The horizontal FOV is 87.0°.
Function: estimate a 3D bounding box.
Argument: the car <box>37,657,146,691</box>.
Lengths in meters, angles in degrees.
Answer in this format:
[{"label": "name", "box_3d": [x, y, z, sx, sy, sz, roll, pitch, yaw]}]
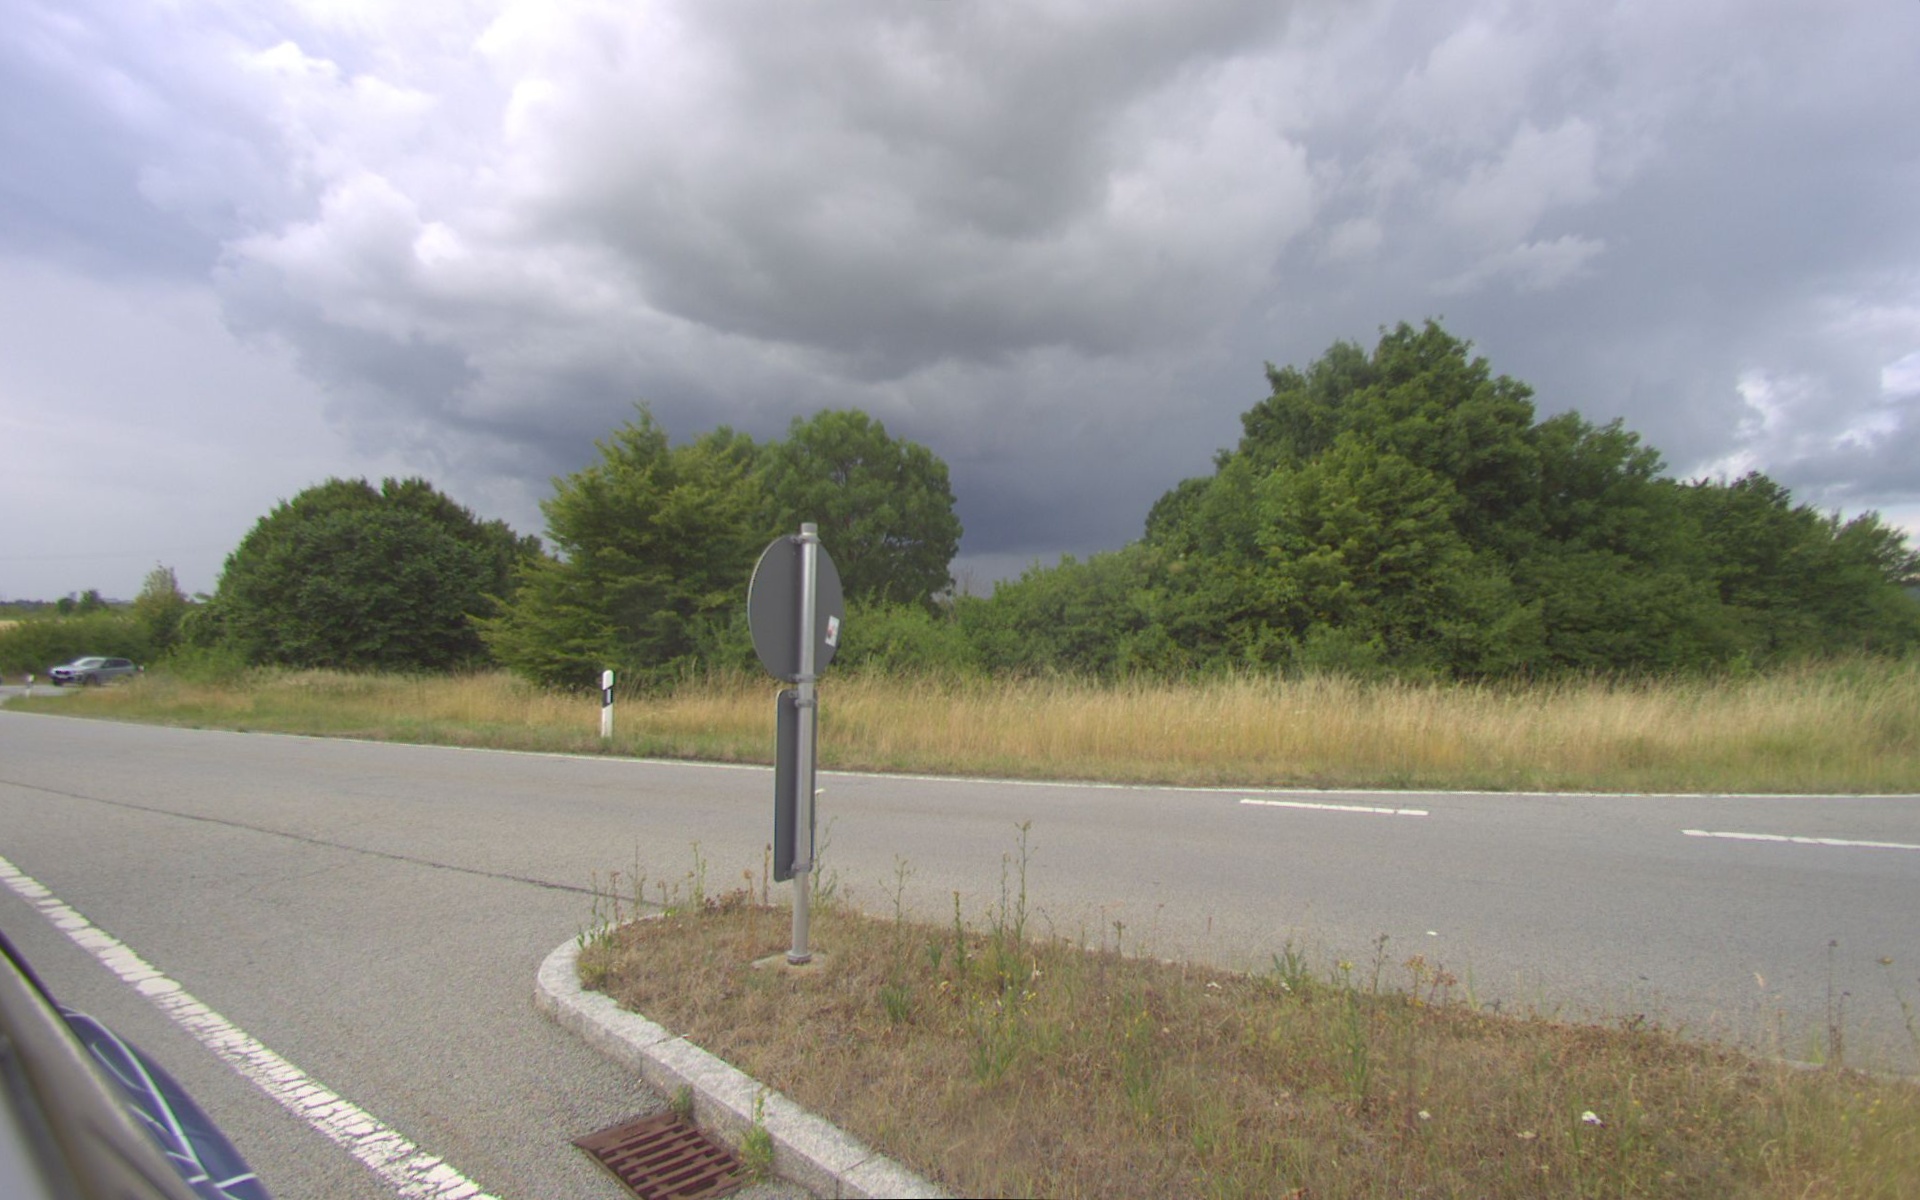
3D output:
[{"label": "car", "box_3d": [-49.496, 4.174, 57.839, 1.970, 1.732, 5.213, 3, -3, -4]}]

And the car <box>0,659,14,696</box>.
[{"label": "car", "box_3d": [-46.442, 3.540, 46.715, 1.966, 1.733, 5.224, 4, -5, -19]}]
